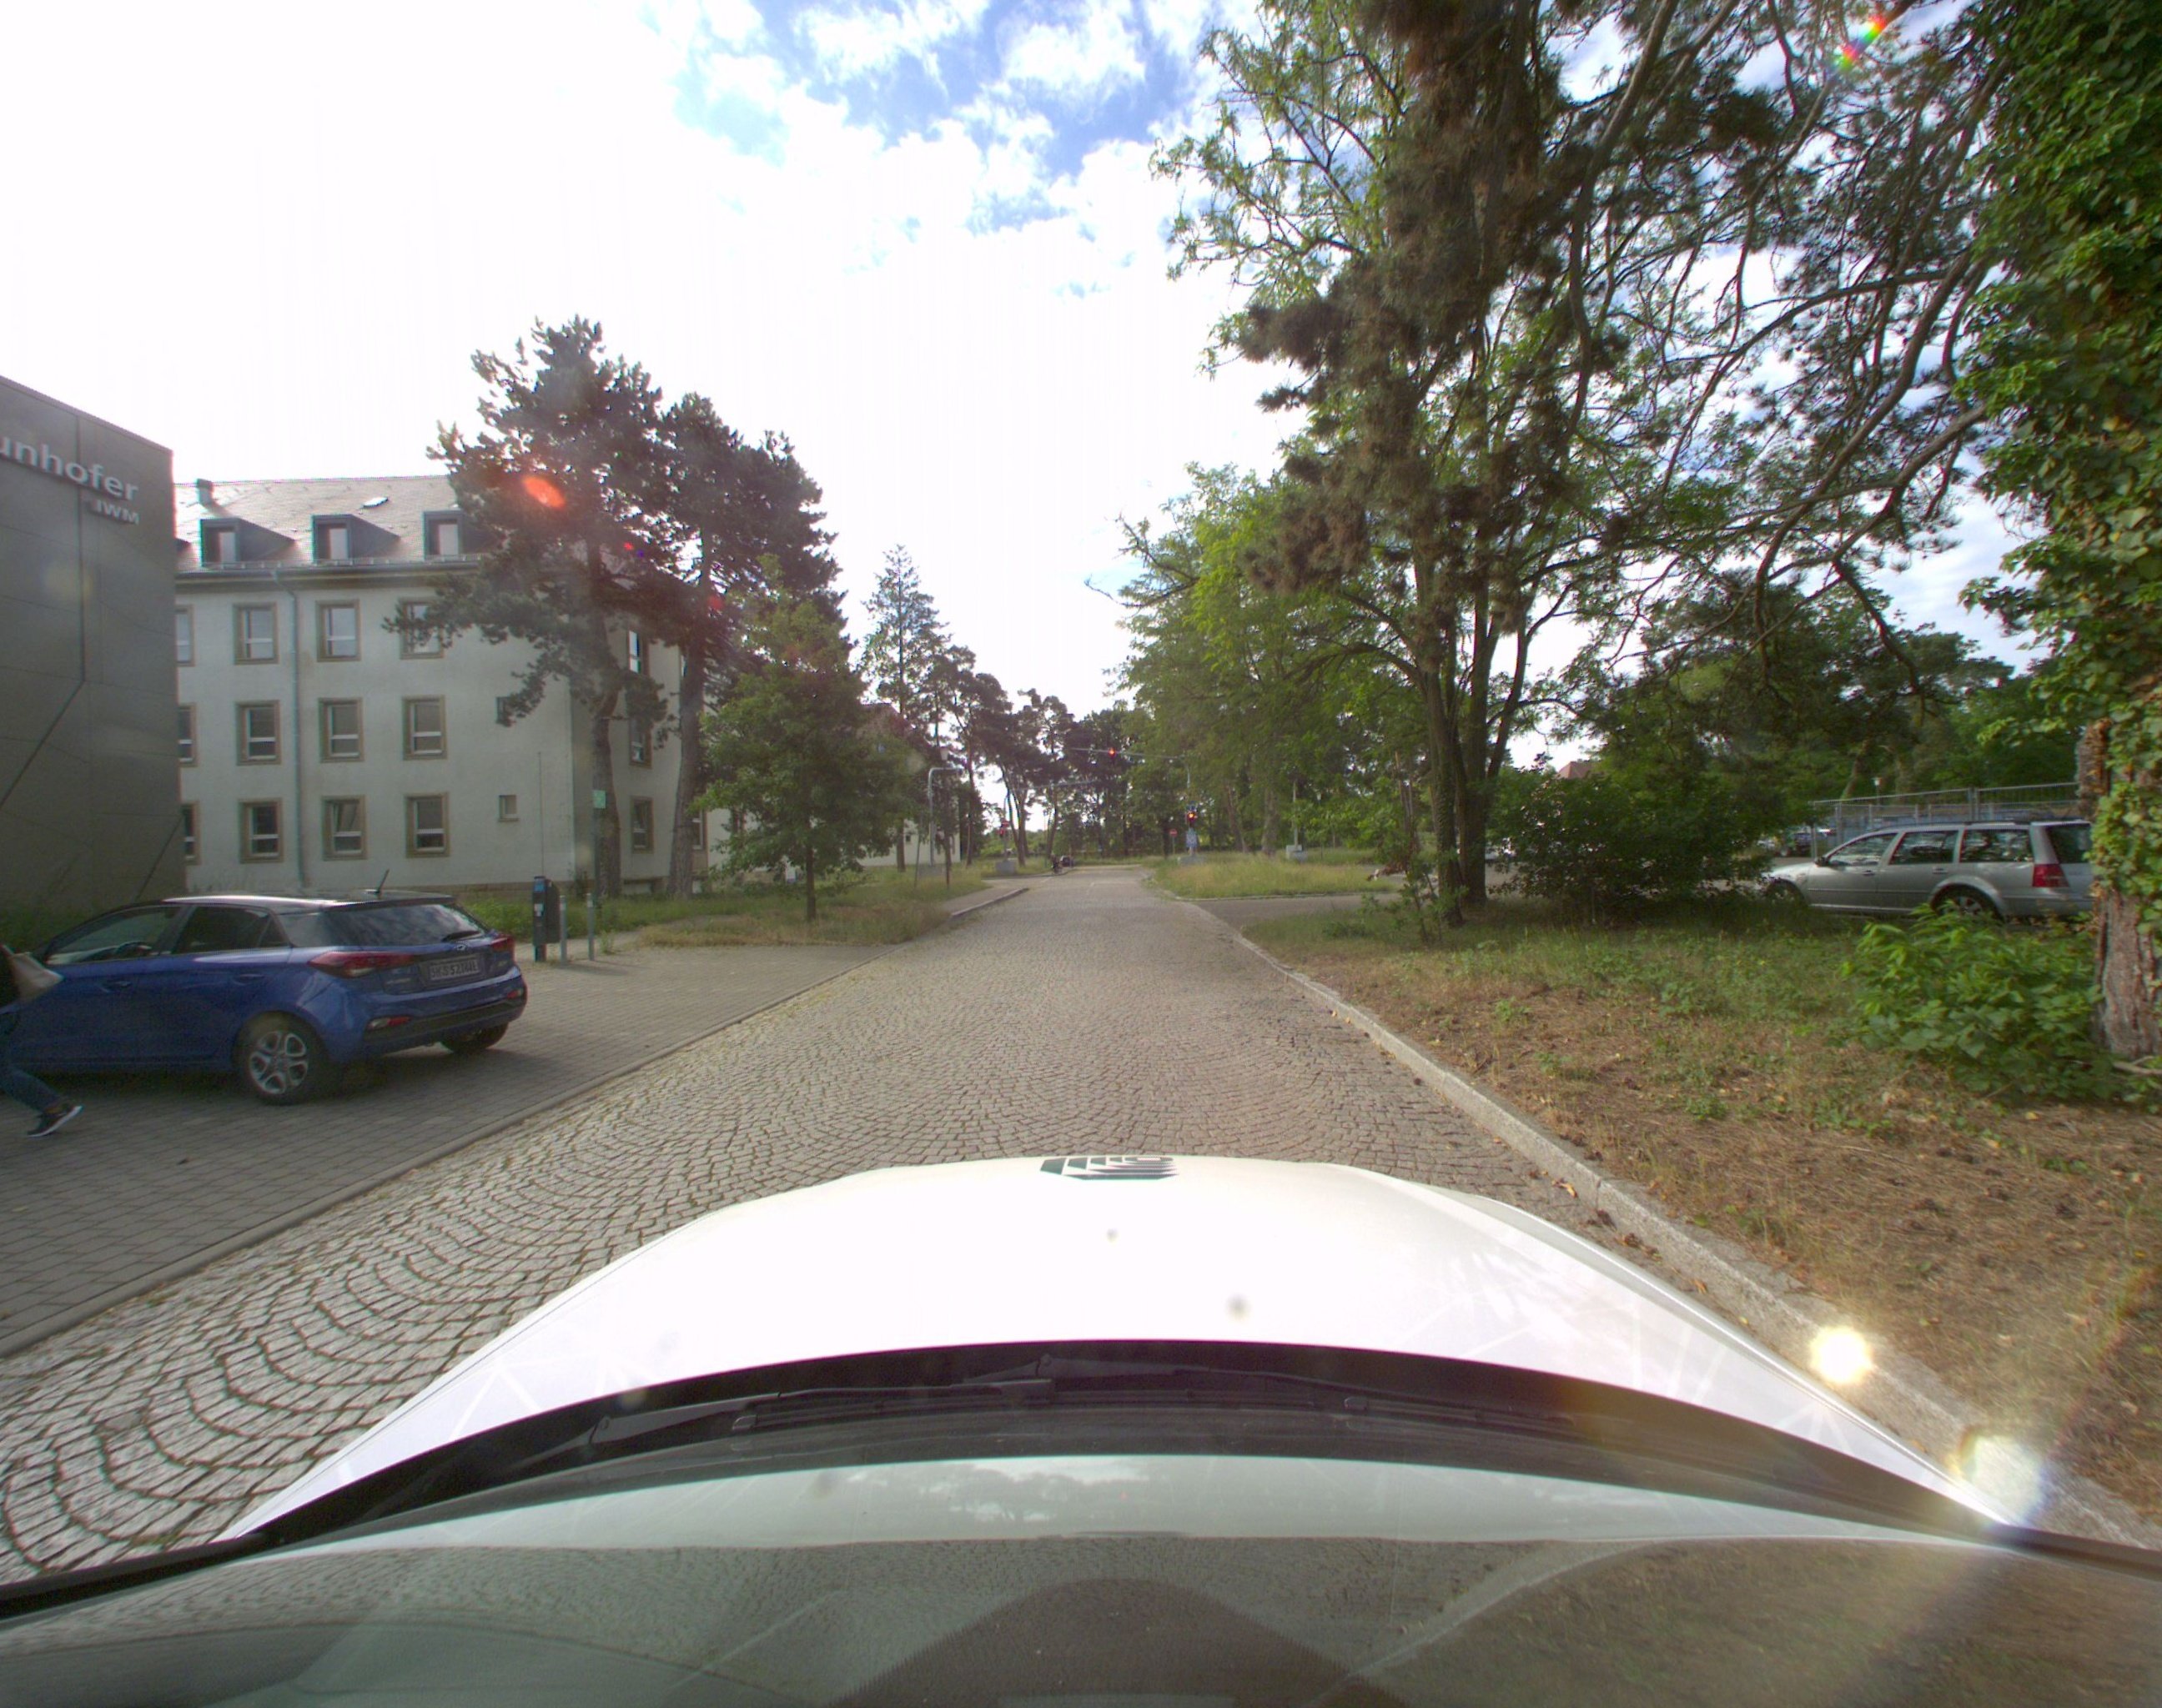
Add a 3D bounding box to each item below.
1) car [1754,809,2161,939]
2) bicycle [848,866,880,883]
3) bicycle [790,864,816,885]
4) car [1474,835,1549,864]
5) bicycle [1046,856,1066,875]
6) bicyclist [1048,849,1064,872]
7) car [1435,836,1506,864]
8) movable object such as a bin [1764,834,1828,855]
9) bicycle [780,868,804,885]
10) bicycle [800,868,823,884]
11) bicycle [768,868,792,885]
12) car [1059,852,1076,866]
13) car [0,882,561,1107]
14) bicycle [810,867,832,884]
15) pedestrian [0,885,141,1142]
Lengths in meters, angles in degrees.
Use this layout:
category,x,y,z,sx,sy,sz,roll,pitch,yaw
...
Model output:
category,x,y,z,sx,sy,sz,roll,pitch,yaw
car,11.646,0.228,11.086,1.640,1.427,4.073,1,0,1
bicycle,-14.796,1.378,55.515,1.848,1.076,0.832,-2,0,3
bicycle,-19.497,1.400,57.109,0.733,1.385,2.713,-2,0,2
car,25.596,-0.228,48.588,1.988,1.481,4.422,-2,-1,-2
bicycle,-1.870,0.850,61.688,0.929,1.387,2.194,-2,0,14
bicyclist,-1.884,0.528,61.694,0.947,1.697,0.927,-2,-1,14
car,23.081,-0.203,48.464,1.988,1.481,4.422,-2,-1,-2
movable object such as a bin,31.488,-0.406,35.913,1.179,0.825,1.957,-2,0,6
bicycle,-20.288,1.559,57.236,0.733,1.076,2.274,-2,0,2
bicycle,-18.762,1.522,56.736,0.733,1.076,2.274,-2,0,2
bicycle,-20.949,1.555,56.757,0.733,1.076,2.274,-2,0,2
car,-1.864,0.677,112.597,2.048,1.846,4.001,-2,0,1
car,-6.729,1.022,6.677,3.748,1.478,1.854,-1,0,4
bicycle,-18.120,1.494,56.802,0.733,1.076,2.274,-2,0,2
pedestrian,-6.858,0.962,5.106,0.979,1.495,0.819,-1,-1,3
